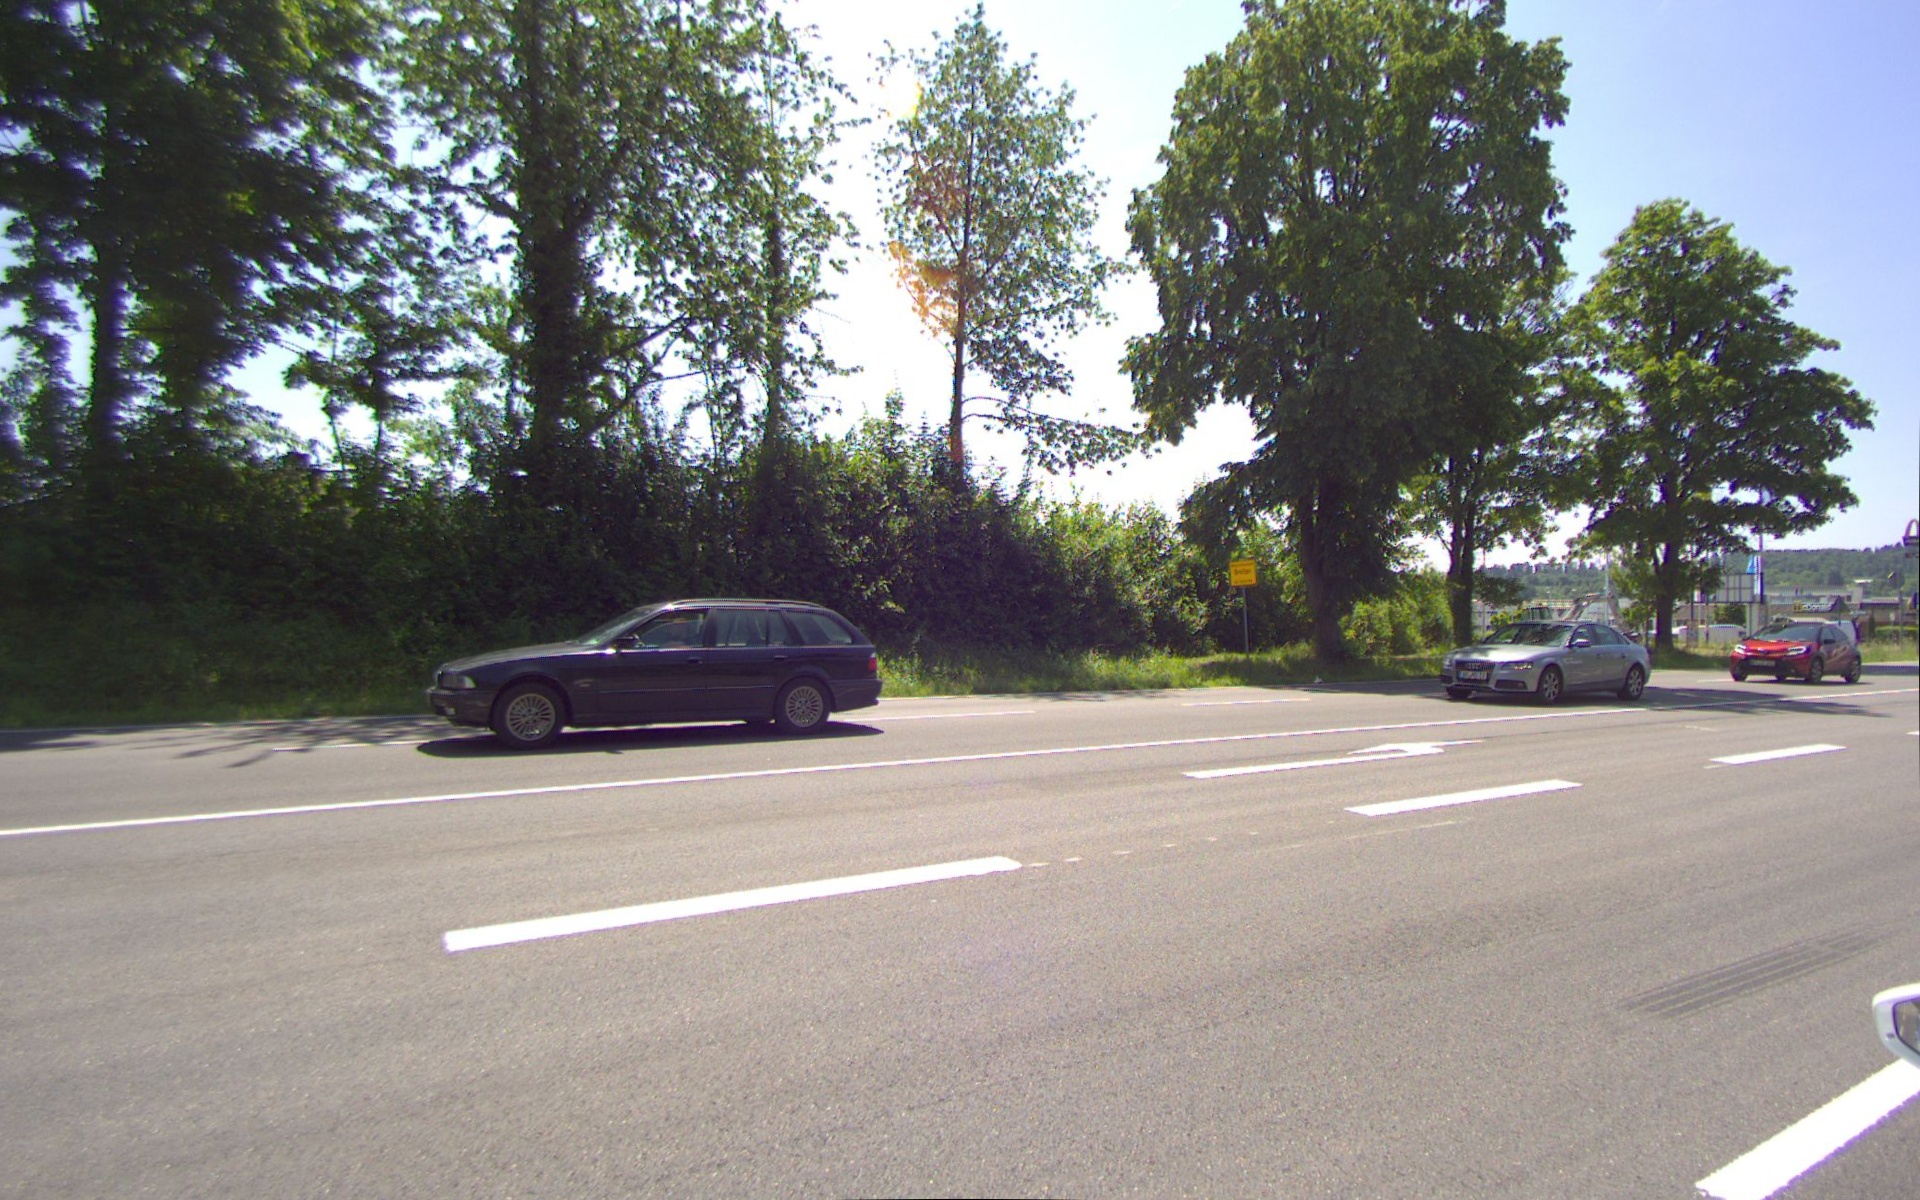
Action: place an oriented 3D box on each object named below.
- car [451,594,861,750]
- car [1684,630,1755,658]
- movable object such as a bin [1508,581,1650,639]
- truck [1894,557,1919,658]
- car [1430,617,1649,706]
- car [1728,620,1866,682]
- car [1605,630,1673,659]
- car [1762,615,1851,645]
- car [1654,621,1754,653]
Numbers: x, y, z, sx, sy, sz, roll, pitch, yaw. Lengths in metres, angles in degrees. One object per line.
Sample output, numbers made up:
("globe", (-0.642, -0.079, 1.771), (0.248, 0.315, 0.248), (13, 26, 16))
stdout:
("car", (-3.256, 0.721, 10.968), (3.956, 1.405, 1.757), (2, 0, -32))
("car", (48.619, 2.807, 64.381), (1.803, 1.639, 4.002), (1, 0, 7))
("movable object such as a bin", (37.352, 0.585, 60.875), (6.654, 3.342, 3.055), (0, -1, 10))
("truck", (47.430, 0.485, 45.697), (16.385, 4.232, 2.953), (1, -1, -31))
("car", (10.495, 1.084, 18.130), (3.956, 1.405, 1.757), (2, 0, -32))
("car", (21.613, 1.283, 25.917), (3.973, 1.457, 1.632), (1, -1, -33))
("car", (43.578, 2.810, 64.569), (1.959, 1.673, 4.002), (1, 0, 7))
("car", (66.624, 2.324, 79.147), (5.088, 2.212, 2.001), (1, -1, 7))
("car", (50.959, 2.503, 68.909), (5.114, 2.040, 2.001), (1, -1, 16))
